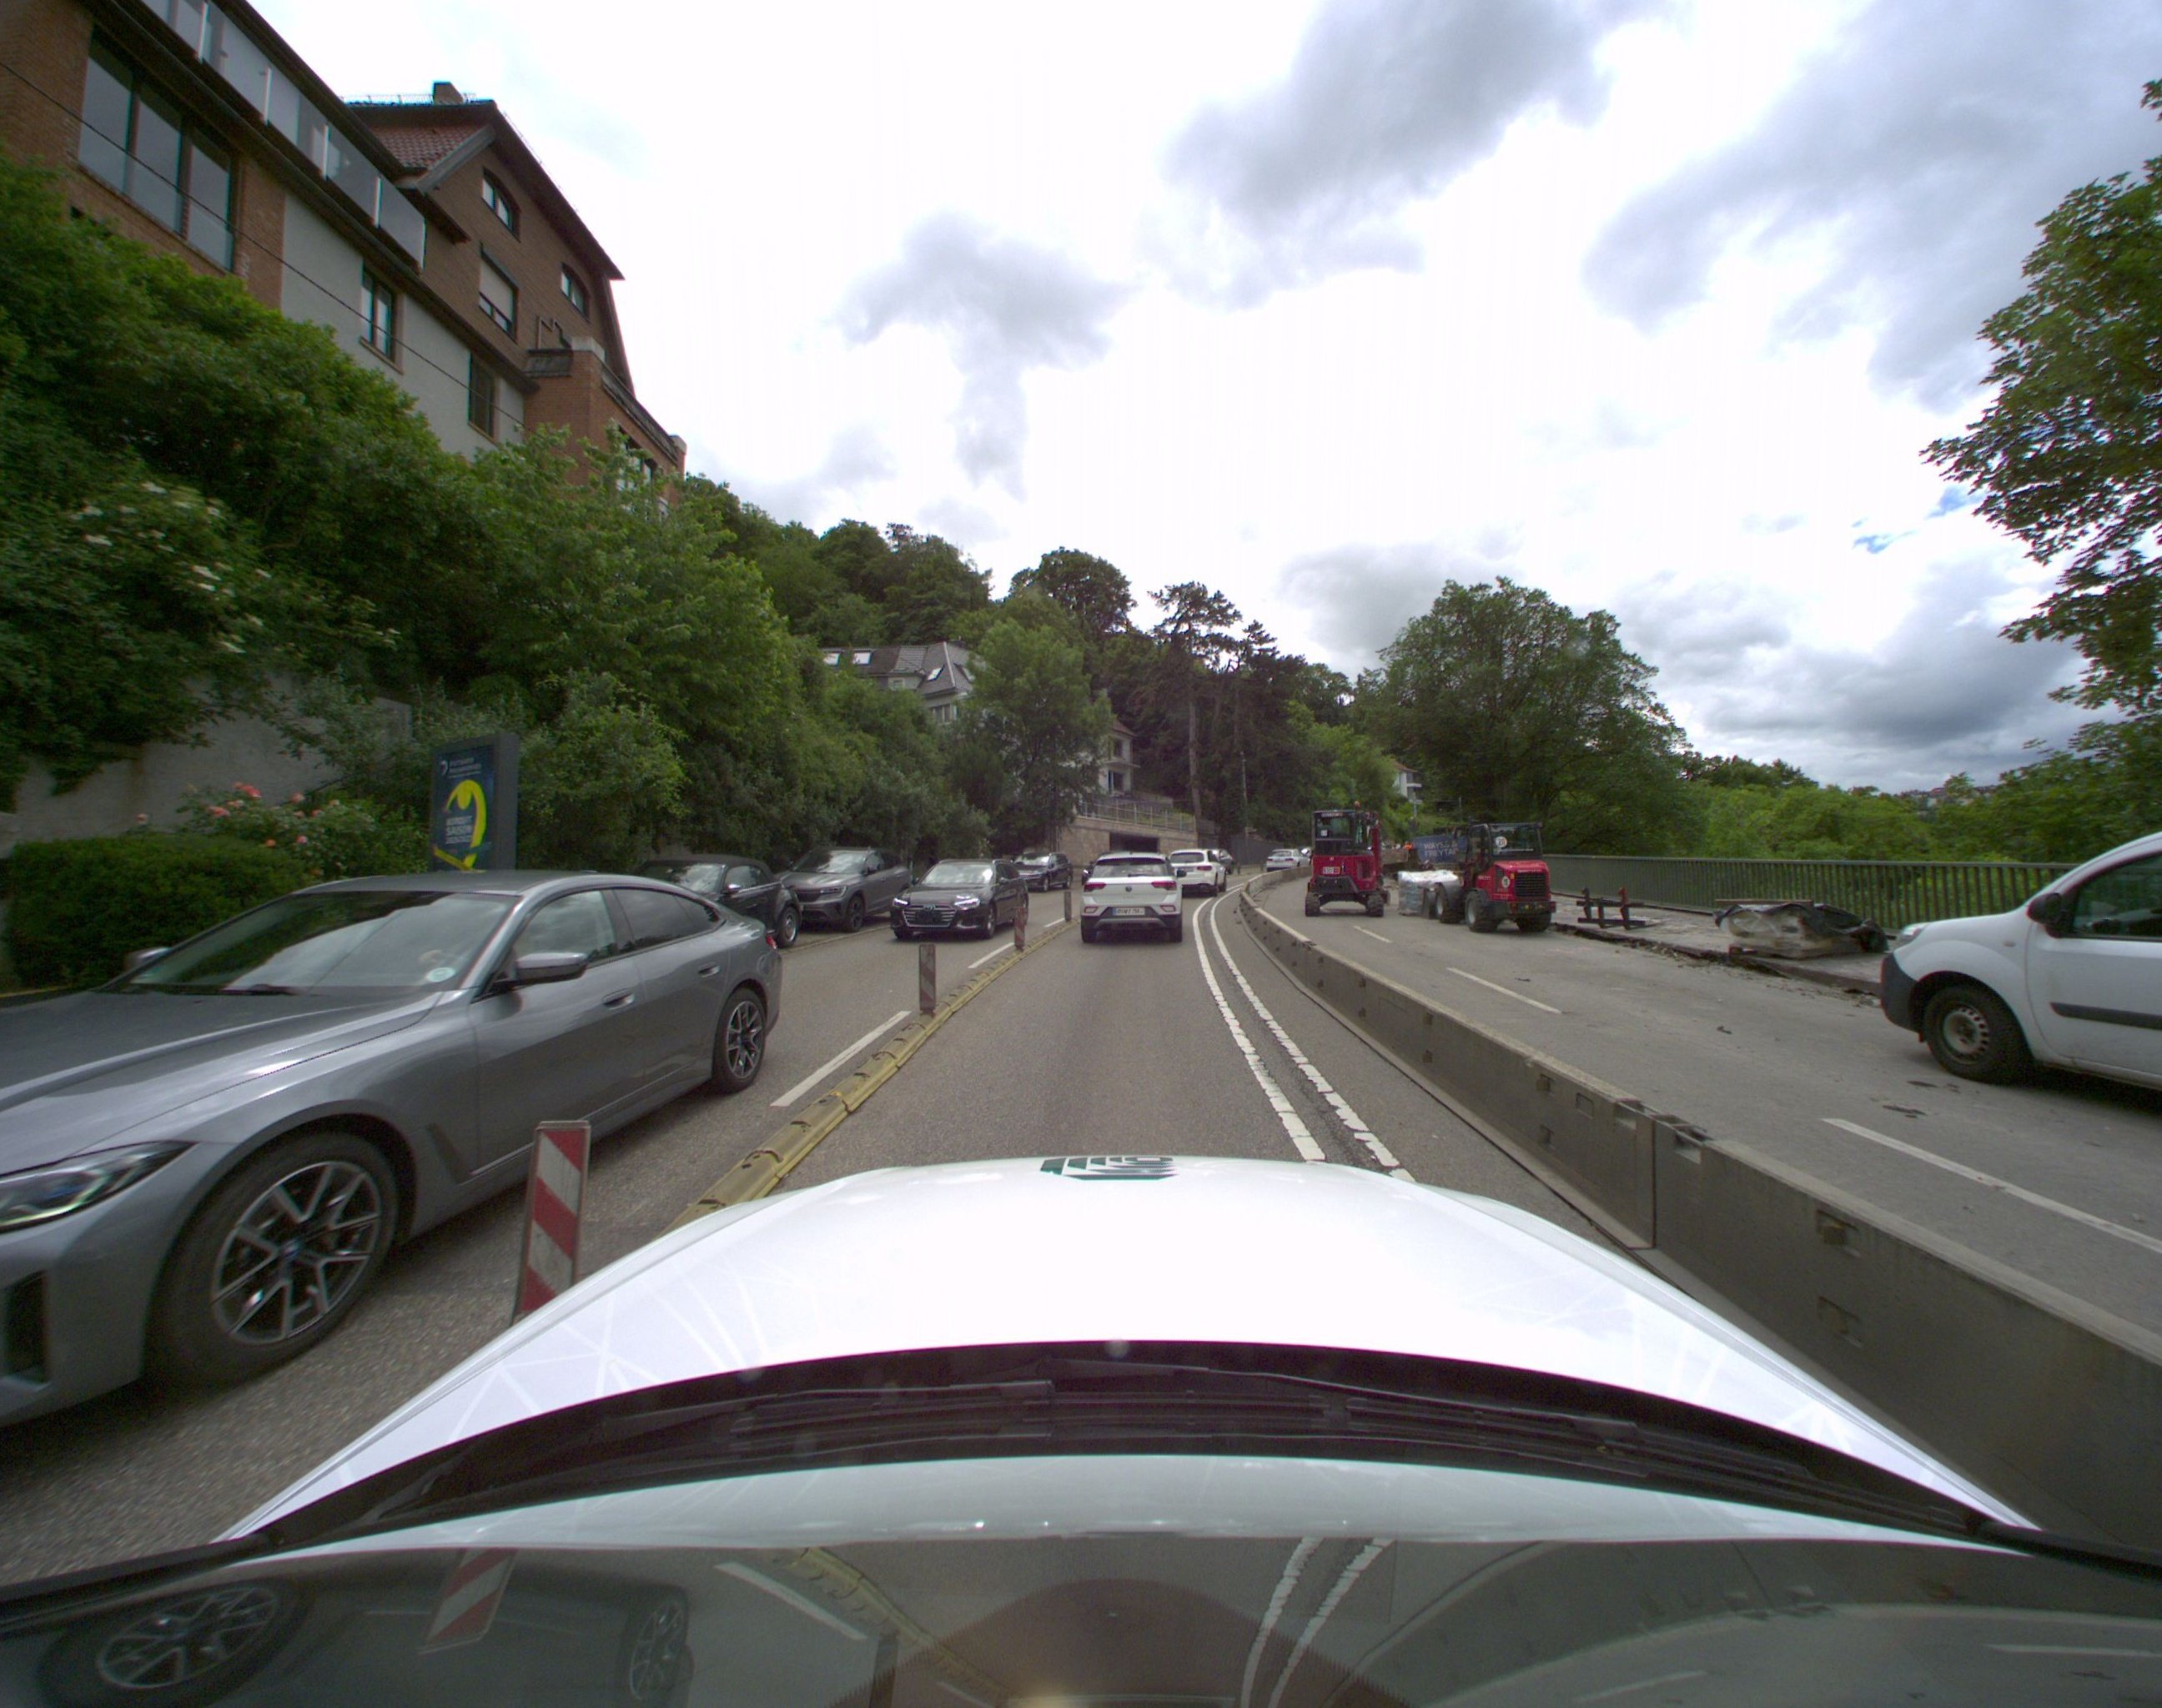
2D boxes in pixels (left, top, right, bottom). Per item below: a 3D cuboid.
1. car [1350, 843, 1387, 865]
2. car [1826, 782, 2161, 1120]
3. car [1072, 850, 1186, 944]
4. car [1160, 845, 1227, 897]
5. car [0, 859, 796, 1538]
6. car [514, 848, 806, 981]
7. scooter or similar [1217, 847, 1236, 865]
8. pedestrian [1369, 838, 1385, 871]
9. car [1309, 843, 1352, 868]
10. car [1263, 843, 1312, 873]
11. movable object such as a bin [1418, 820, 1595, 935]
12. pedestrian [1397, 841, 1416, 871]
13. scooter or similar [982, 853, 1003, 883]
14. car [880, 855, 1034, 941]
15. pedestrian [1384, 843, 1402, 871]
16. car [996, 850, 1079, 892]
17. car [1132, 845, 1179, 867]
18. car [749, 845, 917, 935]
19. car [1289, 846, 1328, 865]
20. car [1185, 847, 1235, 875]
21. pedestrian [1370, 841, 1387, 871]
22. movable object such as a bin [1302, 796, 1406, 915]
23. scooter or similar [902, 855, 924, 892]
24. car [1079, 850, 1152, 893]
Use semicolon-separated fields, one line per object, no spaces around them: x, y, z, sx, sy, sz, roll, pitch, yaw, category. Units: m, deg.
23.480;-0.009;66.421;1.792;1.663;4.026;-2;0;34;car
6.583;0.495;4.151;1.825;1.779;4.272;-1;0;3;car
1.045;0.711;15.489;1.799;1.531;4.009;-1;0;8;car
4.074;0.552;28.888;1.796;1.663;4.016;-2;0;15;car
-3.166;0.779;3.996;1.788;1.482;4.332;1;0;3;car
-5.630;0.702;11.561;1.786;1.510;4.005;1;0;4;car
10.492;0.161;58.629;1.301;1.255;0.468;-1;0;6;scooter or similar
17.052;0.030;46.936;0.686;1.906;0.828;-2;0;9;pedestrian
18.027;0.113;58.643;1.792;1.663;4.026;-2;0;34;car
12.501;0.217;49.230;1.792;1.663;4.025;-2;0;30;car
8.108;0.389;15.964;1.692;1.943;4.173;-1;0;7;movable object such as a bin
18.341;0.101;45.851;0.775;1.687;0.790;-2;0;37;pedestrian
-3.799;0.585;34.935;0.412;1.232;1.127;1;0;20;scooter or similar
-2.278;0.768;16.245;1.785;1.446;4.373;0;0;9;car
17.893;0.164;46.725;0.775;1.608;0.671;-2;0;37;pedestrian
-1.591;0.618;31.976;1.722;1.451;4.704;2;1;17;car
5.191;0.179;56.231;1.764;1.453;3.725;0;-1;32;car
-4.956;0.650;16.962;1.677;1.606;4.196;1;0;8;car
18.487;0.073;66.086;1.750;1.435;4.336;-1;0;33;car
7.584;0.386;47.622;1.751;1.518;4.049;0;0;27;car
17.492;0.109;47.850;0.868;1.731;0.883;-2;0;21;pedestrian
6.852;0.021;20.822;2.195;2.662;4.966;-1;0;16;movable object such as a bin
-5.598;0.646;27.223;0.347;1.213;1.048;1;0;9;scooter or similar
1.444;0.626;32.153;1.753;1.568;4.250;0;0;19;car
